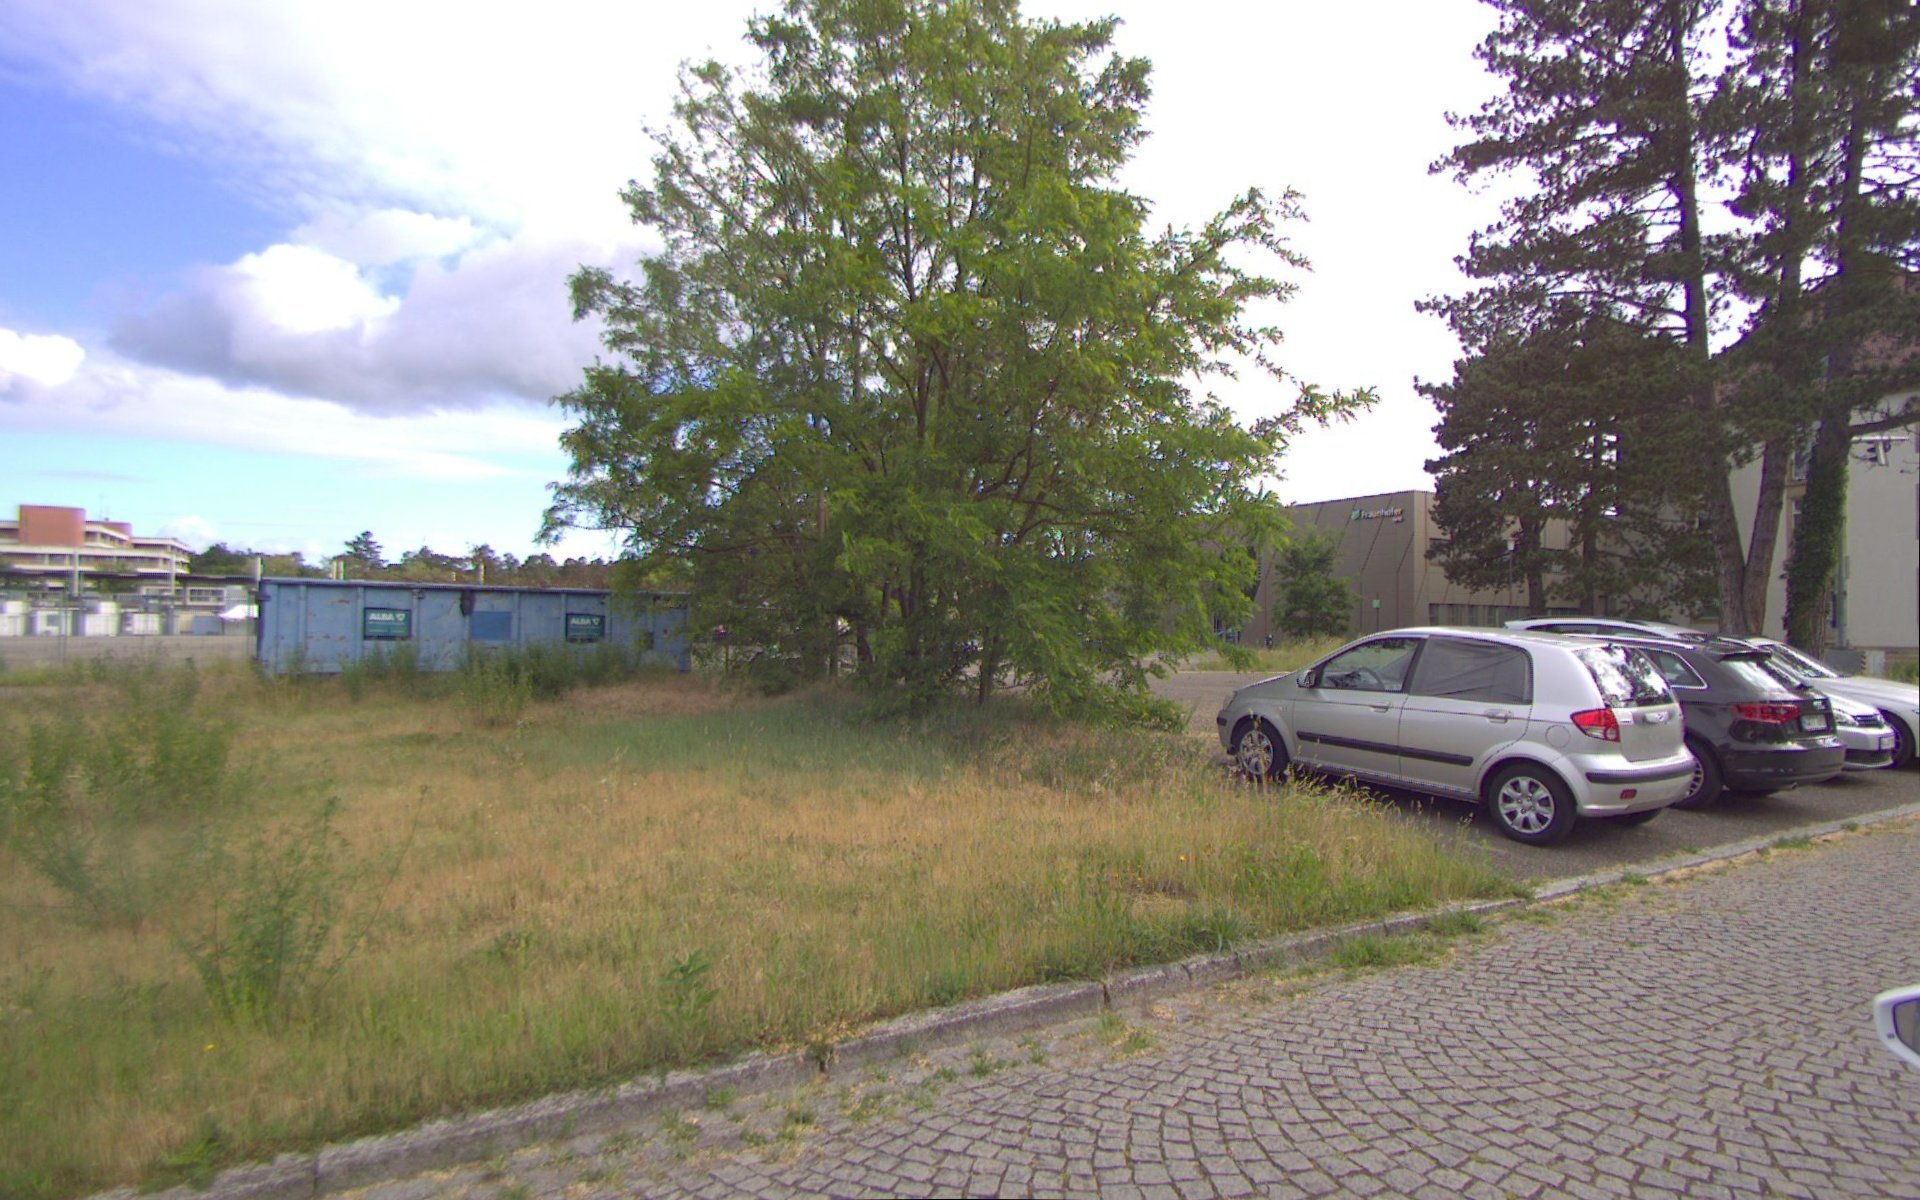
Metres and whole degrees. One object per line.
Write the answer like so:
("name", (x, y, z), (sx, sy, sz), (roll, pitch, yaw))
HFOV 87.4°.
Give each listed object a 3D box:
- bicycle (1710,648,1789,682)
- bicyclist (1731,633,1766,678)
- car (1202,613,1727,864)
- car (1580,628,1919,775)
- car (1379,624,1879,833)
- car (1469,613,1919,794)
("bicycle", (25.751, 2.119, 32.804), (0.598, 1.038, 1.946), (1, -2, -30))
("bicyclist", (25.747, 1.802, 32.809), (0.598, 1.429, 0.745), (1, -1, -31))
("car", (3.994, 0.942, 8.531), (1.566, 1.499, 3.680), (1, 1, -33))
("car", (10.486, 1.192, 12.936), (1.631, 1.440, 3.927), (1, 1, -31))
("car", (6.233, 1.053, 9.785), (1.566, 1.448, 3.723), (1, 1, -33))
("car", (8.305, 1.030, 11.705), (1.633, 1.584, 3.924), (1, 1, -33))
